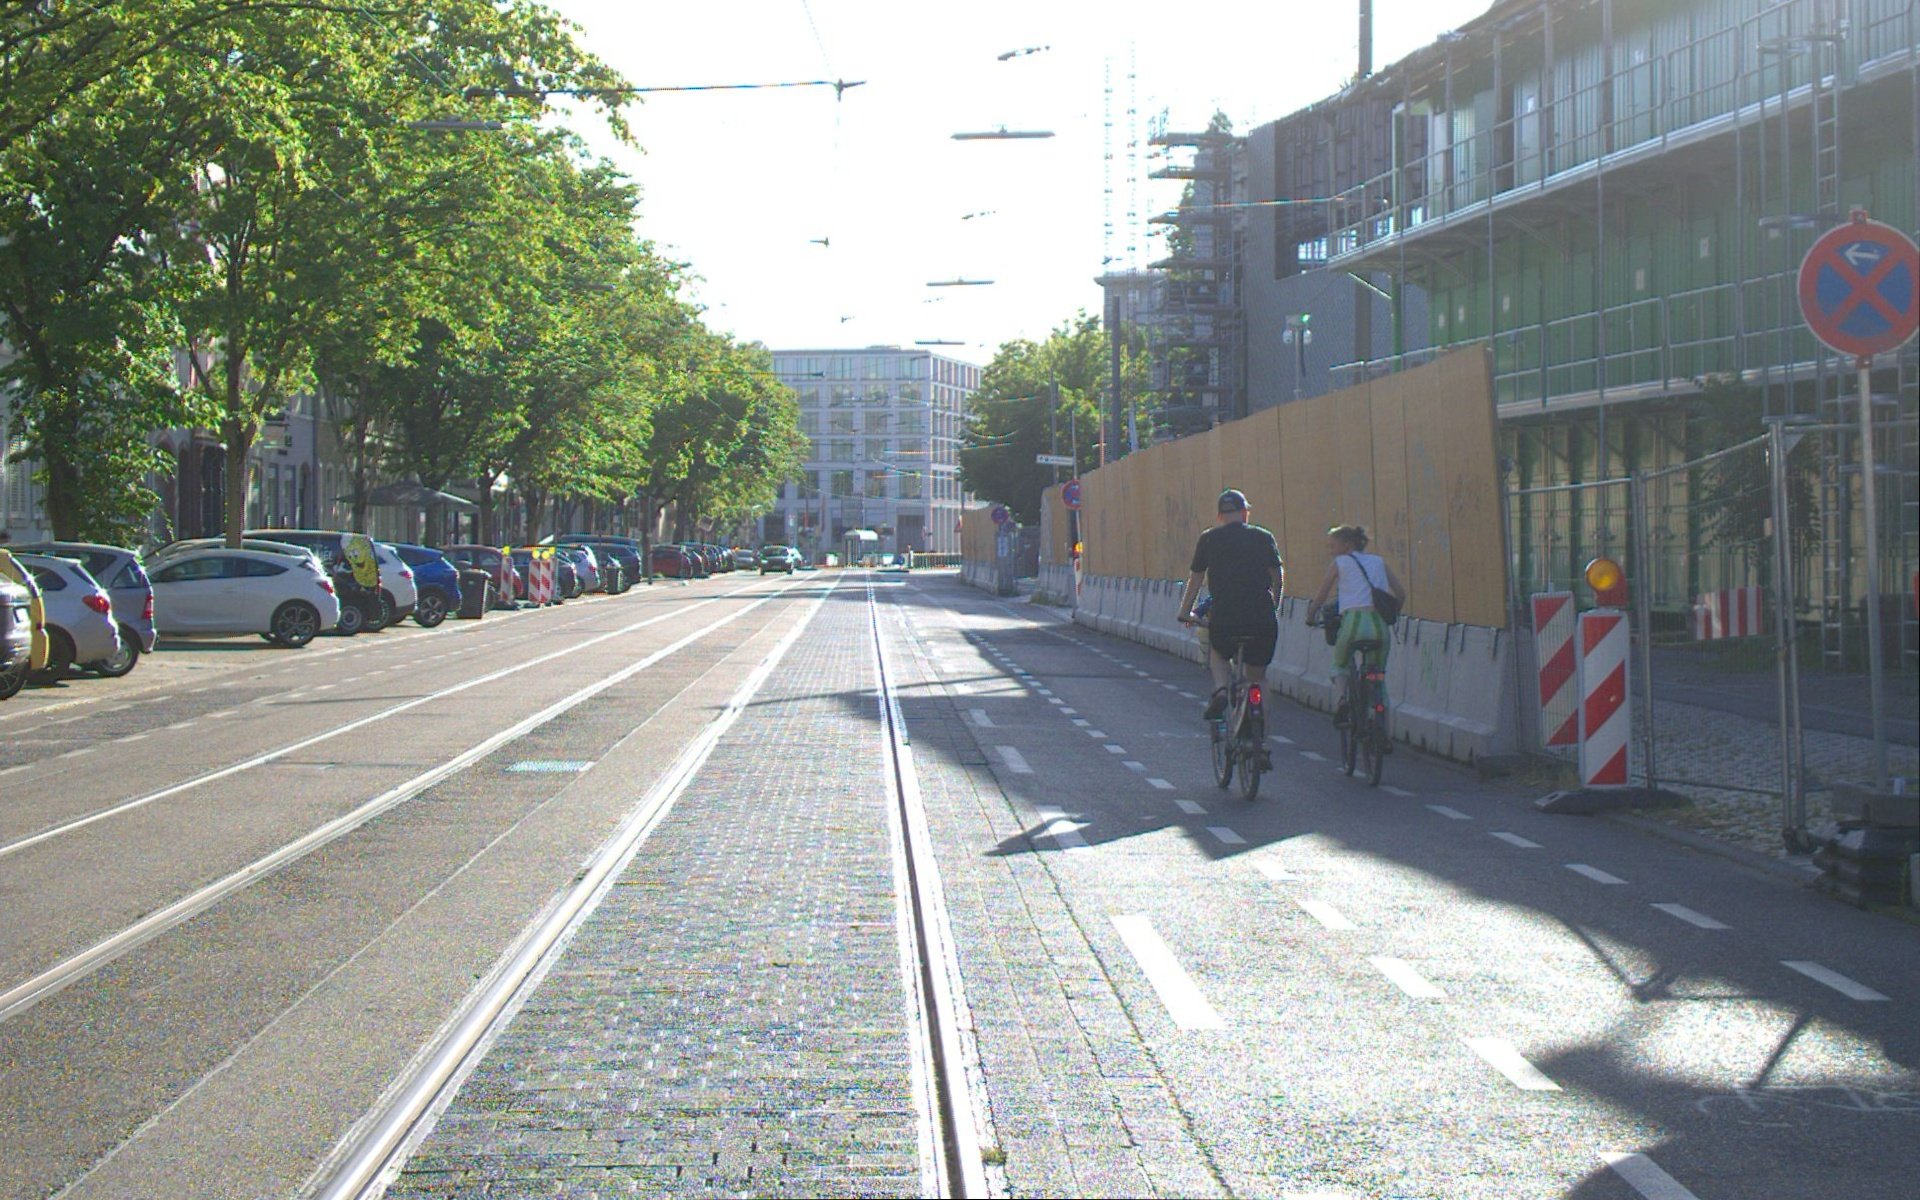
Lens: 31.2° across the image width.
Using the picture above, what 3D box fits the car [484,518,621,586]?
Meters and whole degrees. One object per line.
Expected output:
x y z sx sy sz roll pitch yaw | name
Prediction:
-13.474 -1.586 113.694 4.085 2.047 1.829 2 0 -23 | car

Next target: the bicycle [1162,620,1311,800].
1.693 0.656 21.284 0.680 1.015 1.922 -1 1 -2 | bicycle

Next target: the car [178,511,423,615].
-12.165 -0.682 63.413 4.085 1.748 1.829 2 0 -23 | car

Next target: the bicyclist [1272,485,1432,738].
2.600 0.061 22.926 0.893 1.634 1.100 1 1 -1 | bicyclist

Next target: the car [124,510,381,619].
-12.453 -0.627 60.480 4.085 1.748 1.829 2 0 -23 | car

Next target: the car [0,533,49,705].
-10.835 0.147 32.560 4.086 1.602 1.829 0 1 -8 | car

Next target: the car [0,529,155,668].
-12.007 -0.078 41.897 4.085 1.602 1.829 2 0 -9 | car

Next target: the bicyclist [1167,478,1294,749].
1.678 0.077 21.418 0.680 1.652 0.812 -1 1 -2 | bicyclist

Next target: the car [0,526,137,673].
-11.631 -0.070 39.367 4.085 1.602 1.829 2 0 -9 | car

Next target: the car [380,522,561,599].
-12.254 -0.998 86.069 4.085 1.748 1.829 2 0 -23 | car

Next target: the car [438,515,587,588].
-13.687 -1.483 105.067 4.085 2.047 1.829 2 0 -23 | car

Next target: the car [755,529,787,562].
-10.923 -3.135 198.477 1.680 1.831 3.873 2 0 -5 | car

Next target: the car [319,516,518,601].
-12.314 -0.951 78.149 4.085 1.748 1.829 2 0 -23 | car

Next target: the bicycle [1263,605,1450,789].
2.594 0.609 22.765 0.893 1.089 2.430 1 1 -1 | bicycle

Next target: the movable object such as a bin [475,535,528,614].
-9.924 -0.550 74.438 0.901 1.661 0.765 2 0 -23 | movable object such as a bin

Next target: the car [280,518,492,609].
-12.261 -0.782 73.453 4.085 1.748 1.829 2 0 -23 | car

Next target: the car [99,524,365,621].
-12.271 -0.459 57.912 4.085 1.448 1.829 2 0 -21 | car

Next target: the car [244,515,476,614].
-11.698 -0.684 66.987 4.085 1.748 1.829 2 0 -23 | car

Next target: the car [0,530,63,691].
-11.400 0.023 35.136 4.085 1.602 1.829 2 0 -9 | car

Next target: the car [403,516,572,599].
-12.693 -1.131 92.342 4.085 2.047 1.829 2 0 -23 | car

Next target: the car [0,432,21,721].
-11.053 -0.297 29.849 5.179 2.569 2.246 2 0 -5 | car

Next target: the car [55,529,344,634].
-11.789 -0.291 53.251 4.085 1.448 1.829 2 0 -21 | car

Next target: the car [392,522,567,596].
-12.495 -1.075 89.409 4.085 1.748 1.829 2 0 -23 | car
